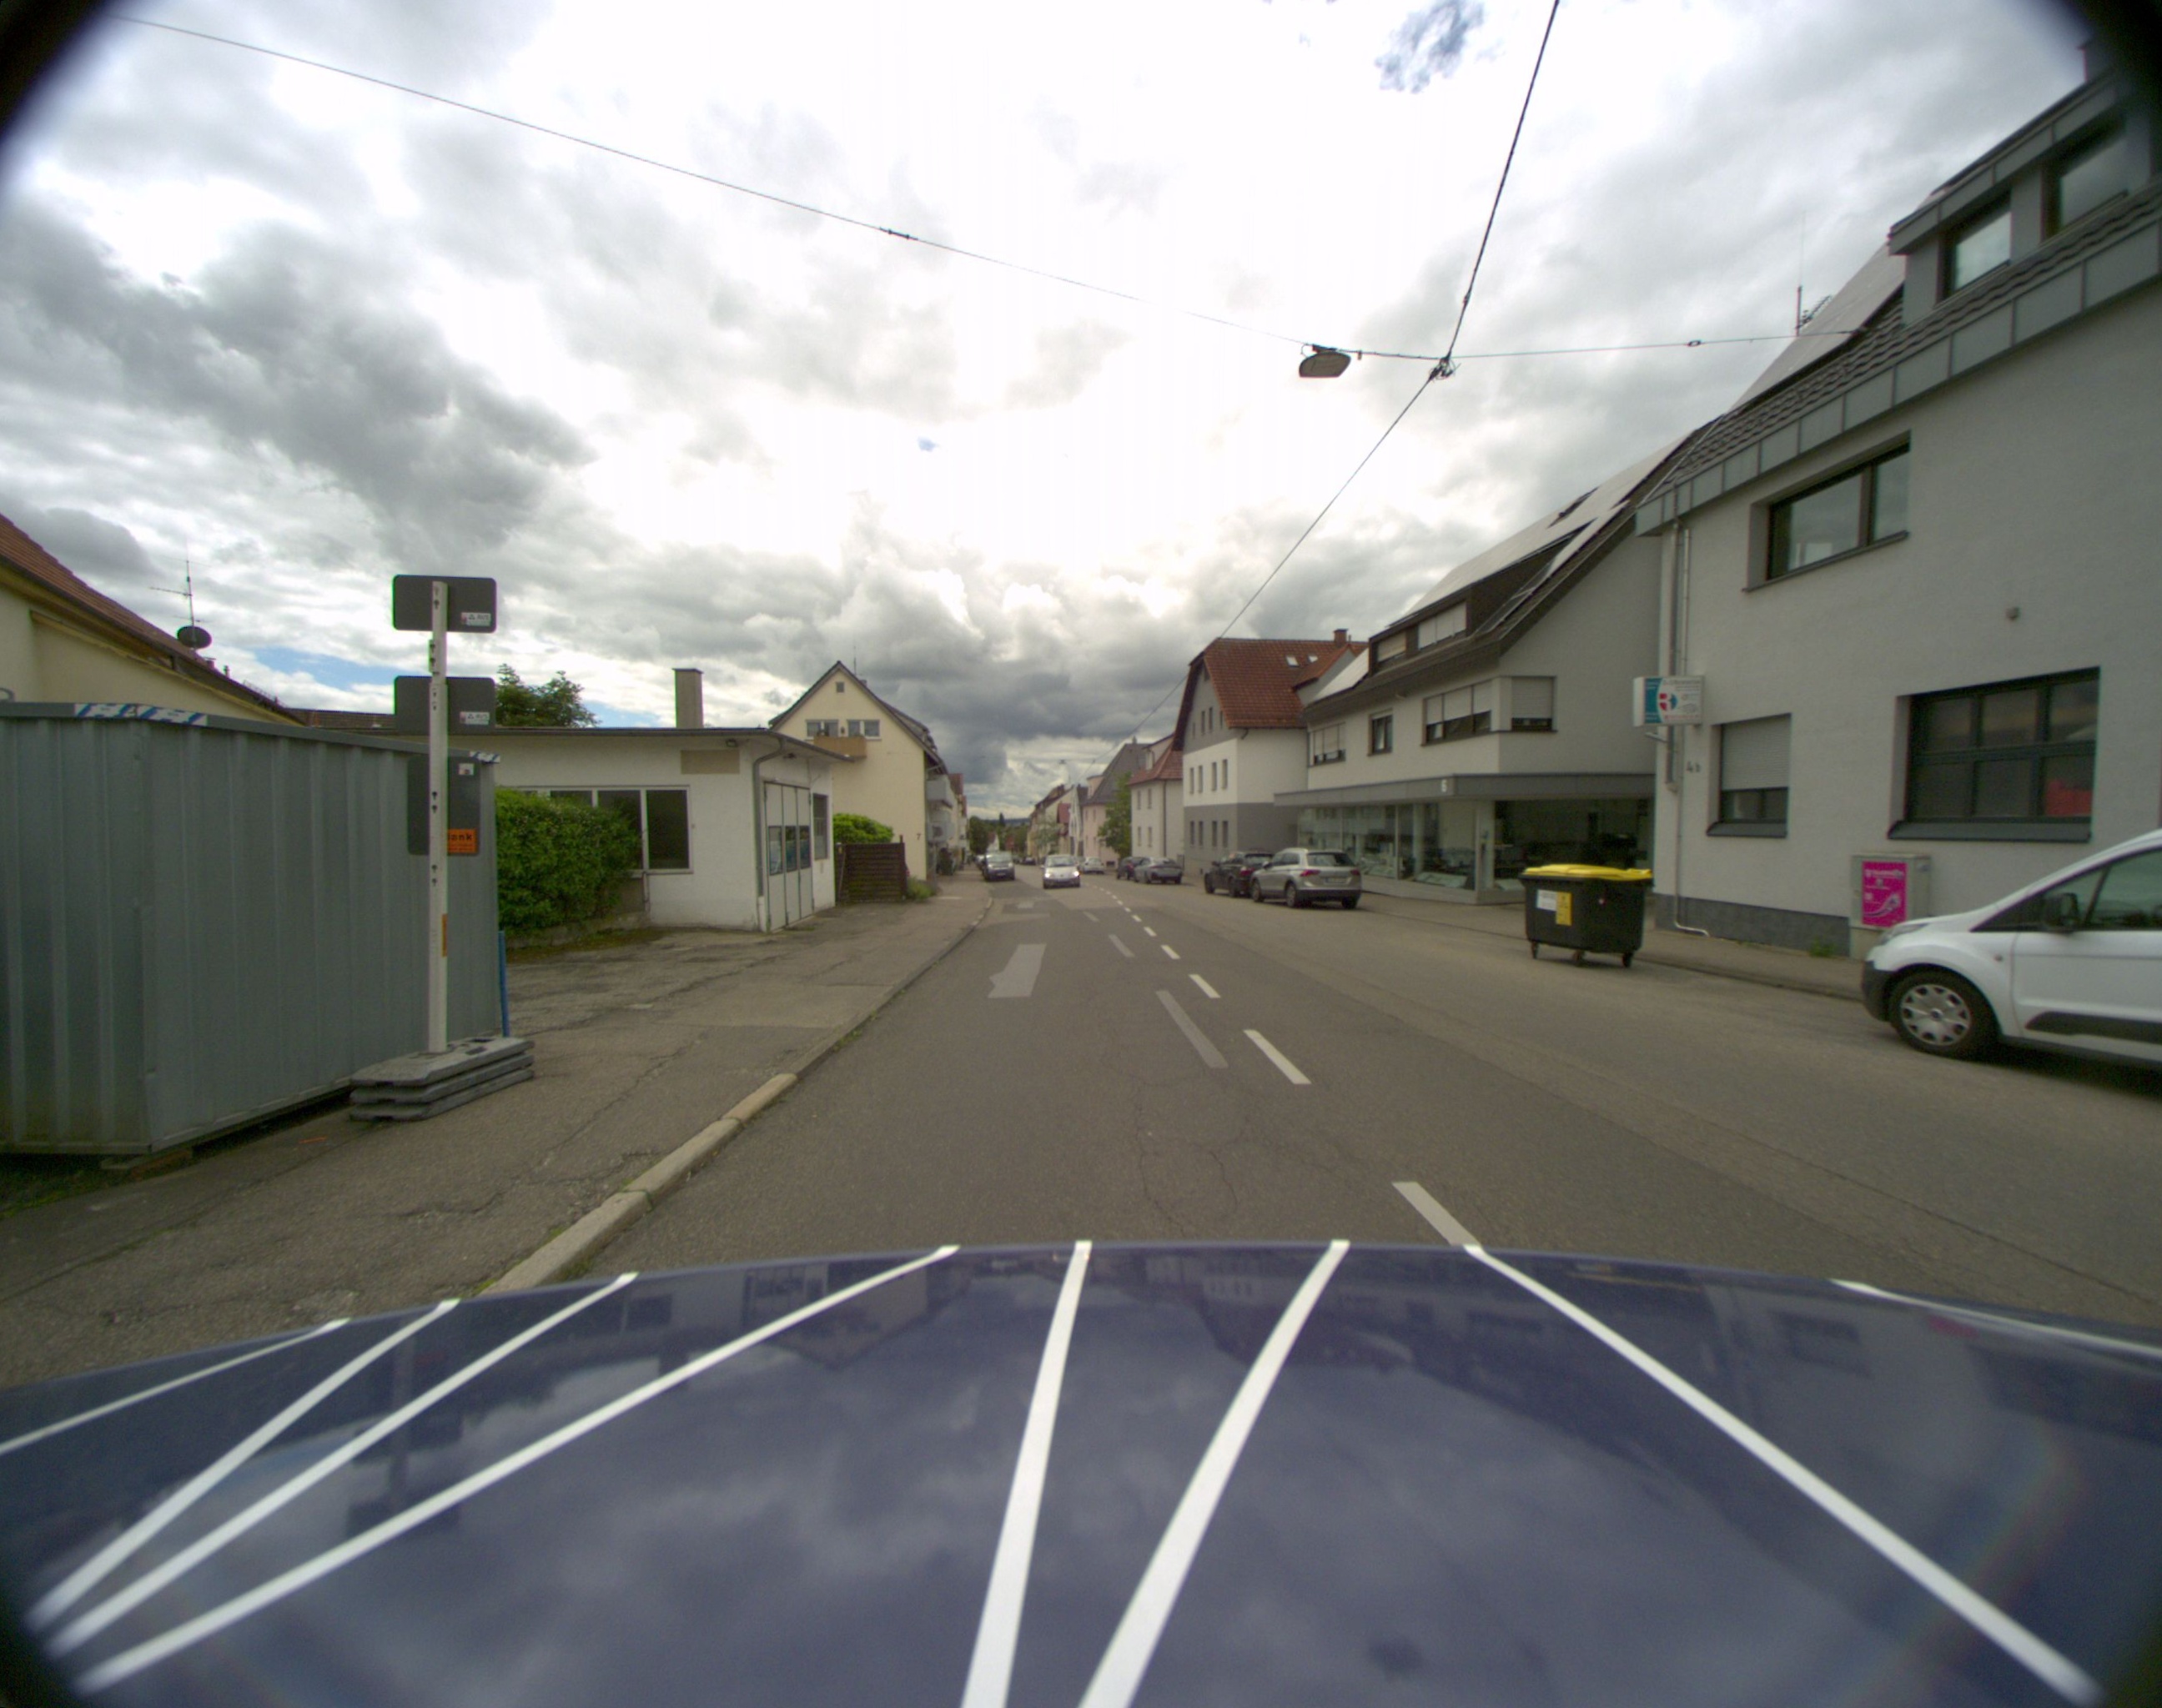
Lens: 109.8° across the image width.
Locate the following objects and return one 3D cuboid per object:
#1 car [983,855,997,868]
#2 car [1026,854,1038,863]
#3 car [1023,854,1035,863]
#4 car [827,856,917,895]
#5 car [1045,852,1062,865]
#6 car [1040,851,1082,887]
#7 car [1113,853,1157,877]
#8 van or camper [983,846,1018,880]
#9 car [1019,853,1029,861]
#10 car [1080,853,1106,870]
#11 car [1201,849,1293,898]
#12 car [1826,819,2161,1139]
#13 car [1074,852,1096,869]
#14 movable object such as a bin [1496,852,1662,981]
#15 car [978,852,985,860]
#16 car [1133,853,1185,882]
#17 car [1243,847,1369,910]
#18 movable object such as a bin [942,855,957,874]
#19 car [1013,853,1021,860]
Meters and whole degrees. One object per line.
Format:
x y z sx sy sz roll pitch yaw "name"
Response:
-11.457 0.937 95.360 1.614 1.447 3.856 -3 1 -8 "car"
-8.625 0.776 132.801 1.707 1.524 3.733 2 0 -8 "car"
-9.490 0.753 138.431 1.707 1.524 3.733 2 0 -8 "car"
-8.631 0.865 31.398 3.328 1.510 1.700 0 0 -27 "car"
-3.515 0.566 96.002 1.707 1.524 3.733 2 0 -8 "car"
-1.007 0.675 36.889 1.722 1.587 3.998 -3 1 -5 "car"
3.367 0.678 47.835 1.844 1.437 3.996 1 0 -10 "car"
-5.473 0.570 50.953 2.000 2.002 5.060 -4 1 -9 "van or camper"
-11.907 0.651 158.110 1.707 1.524 3.733 2 0 -8 "car"
0.948 0.614 64.057 1.655 1.438 3.808 0 0 -8 "car"
5.812 0.640 27.201 1.843 1.623 4.405 0 0 -7 "car"
7.037 0.726 4.088 1.738 1.821 4.297 1 0 -1 "car"
0.318 0.572 69.066 1.654 1.438 3.772 0 0 -5 "car"
6.723 0.781 10.375 1.143 1.623 1.562 0 0 -7 "movable object such as a bin"
-24.335 0.471 185.246 1.614 1.789 3.856 -3 1 -8 "car"
4.154 0.705 41.156 1.843 1.437 4.464 1 0 -8 "car"
6.301 0.619 21.847 1.843 1.623 4.405 0 0 -7 "car"
-10.926 0.864 62.982 1.083 1.428 1.259 -3 1 -8 "movable object such as a bin"
-15.050 0.550 178.912 1.707 1.524 3.733 2 0 -8 "car"
